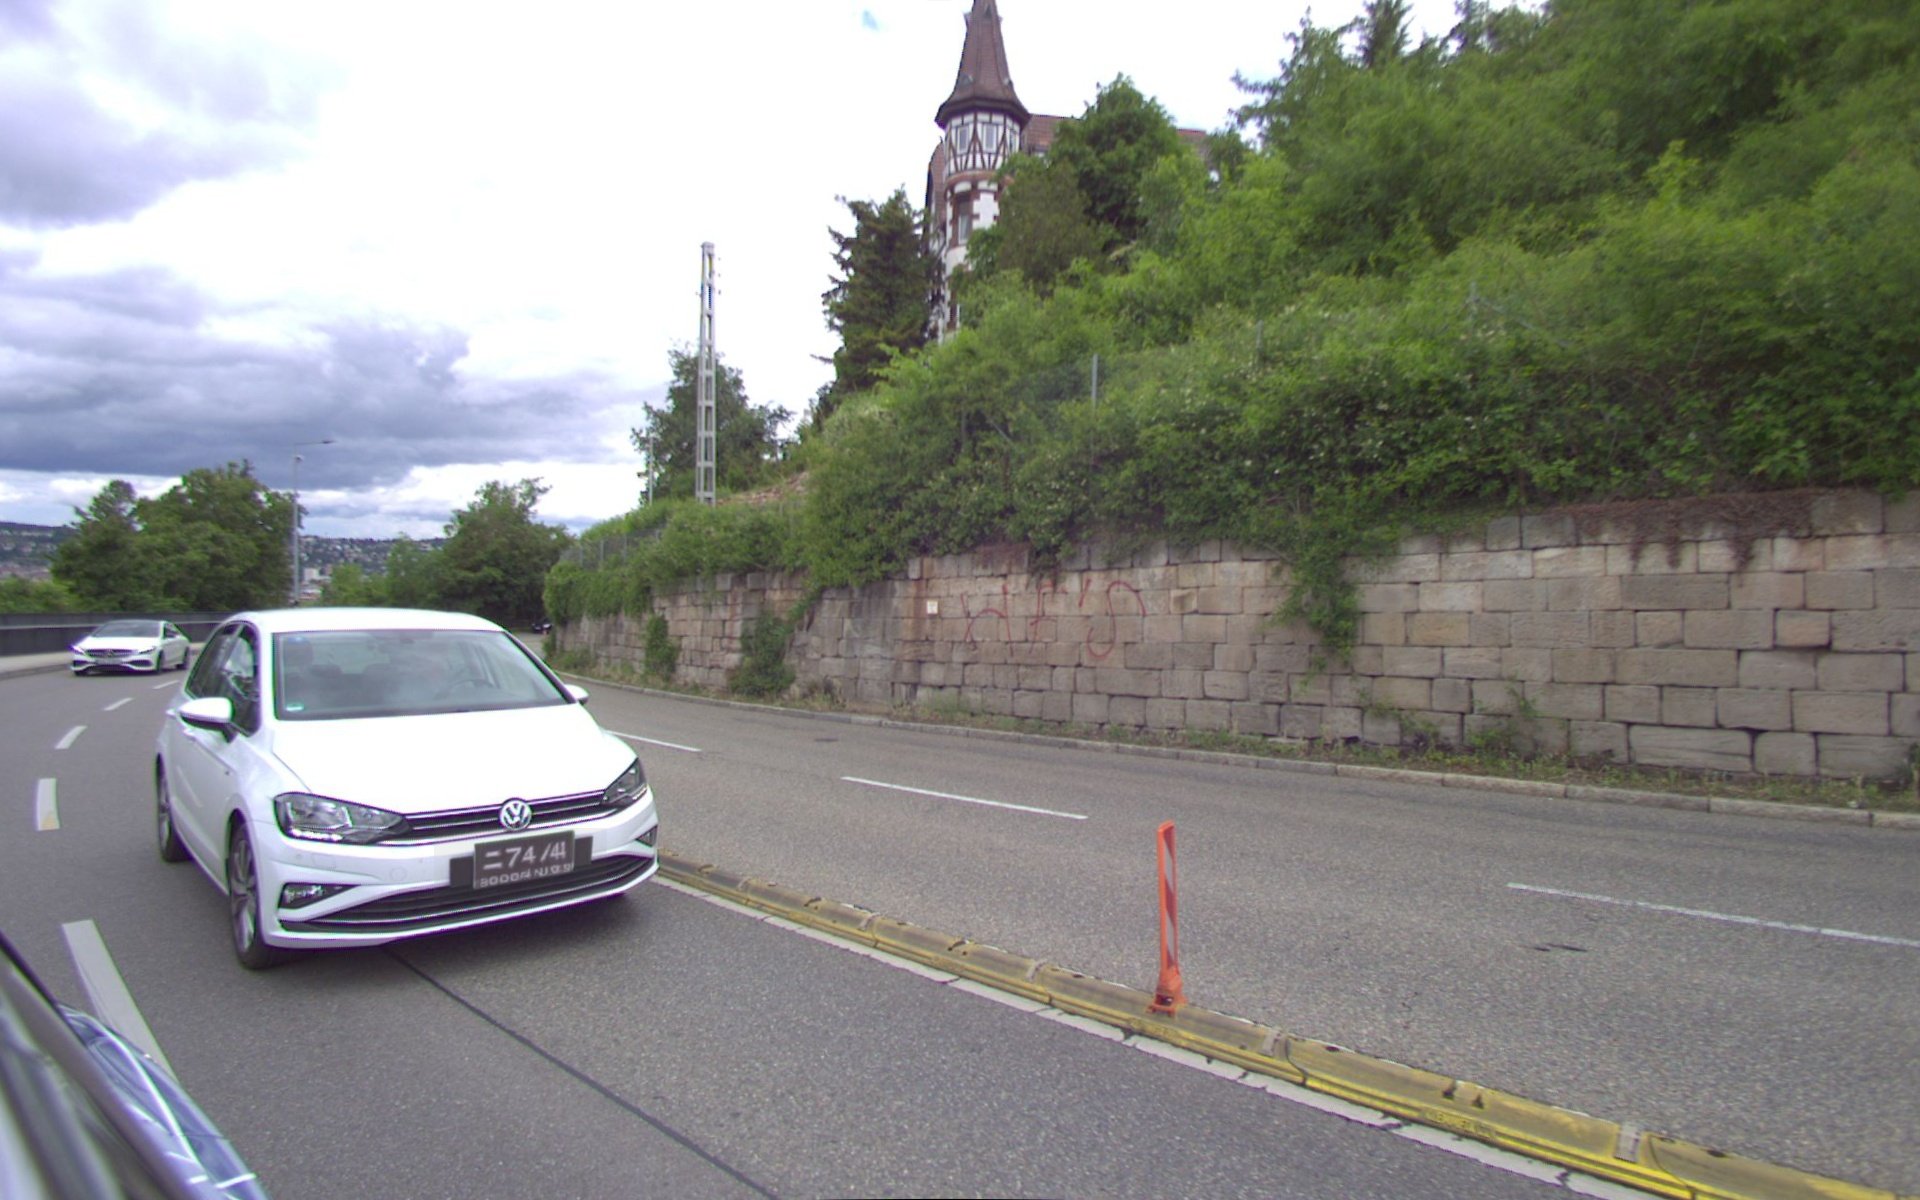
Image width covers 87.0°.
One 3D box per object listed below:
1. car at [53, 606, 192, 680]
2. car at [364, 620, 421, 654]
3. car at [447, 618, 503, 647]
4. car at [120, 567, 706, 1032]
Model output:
[{"bbox_3d":[-22.203,1.094,27.012,1.965,1.731,4.013,2,0,-27],"label":"car"},{"bbox_3d":[-27.203,1.736,48.600,1.869,1.505,4.155,0,-1,-22],"label":"car"},{"bbox_3d":[-27.283,1.811,57.072,1.894,1.505,4.151,-1,-1,-11],"label":"car"},{"bbox_3d":[-3.349,0.761,5.701,1.799,1.592,4.359,2,-3,-44],"label":"car"}]
